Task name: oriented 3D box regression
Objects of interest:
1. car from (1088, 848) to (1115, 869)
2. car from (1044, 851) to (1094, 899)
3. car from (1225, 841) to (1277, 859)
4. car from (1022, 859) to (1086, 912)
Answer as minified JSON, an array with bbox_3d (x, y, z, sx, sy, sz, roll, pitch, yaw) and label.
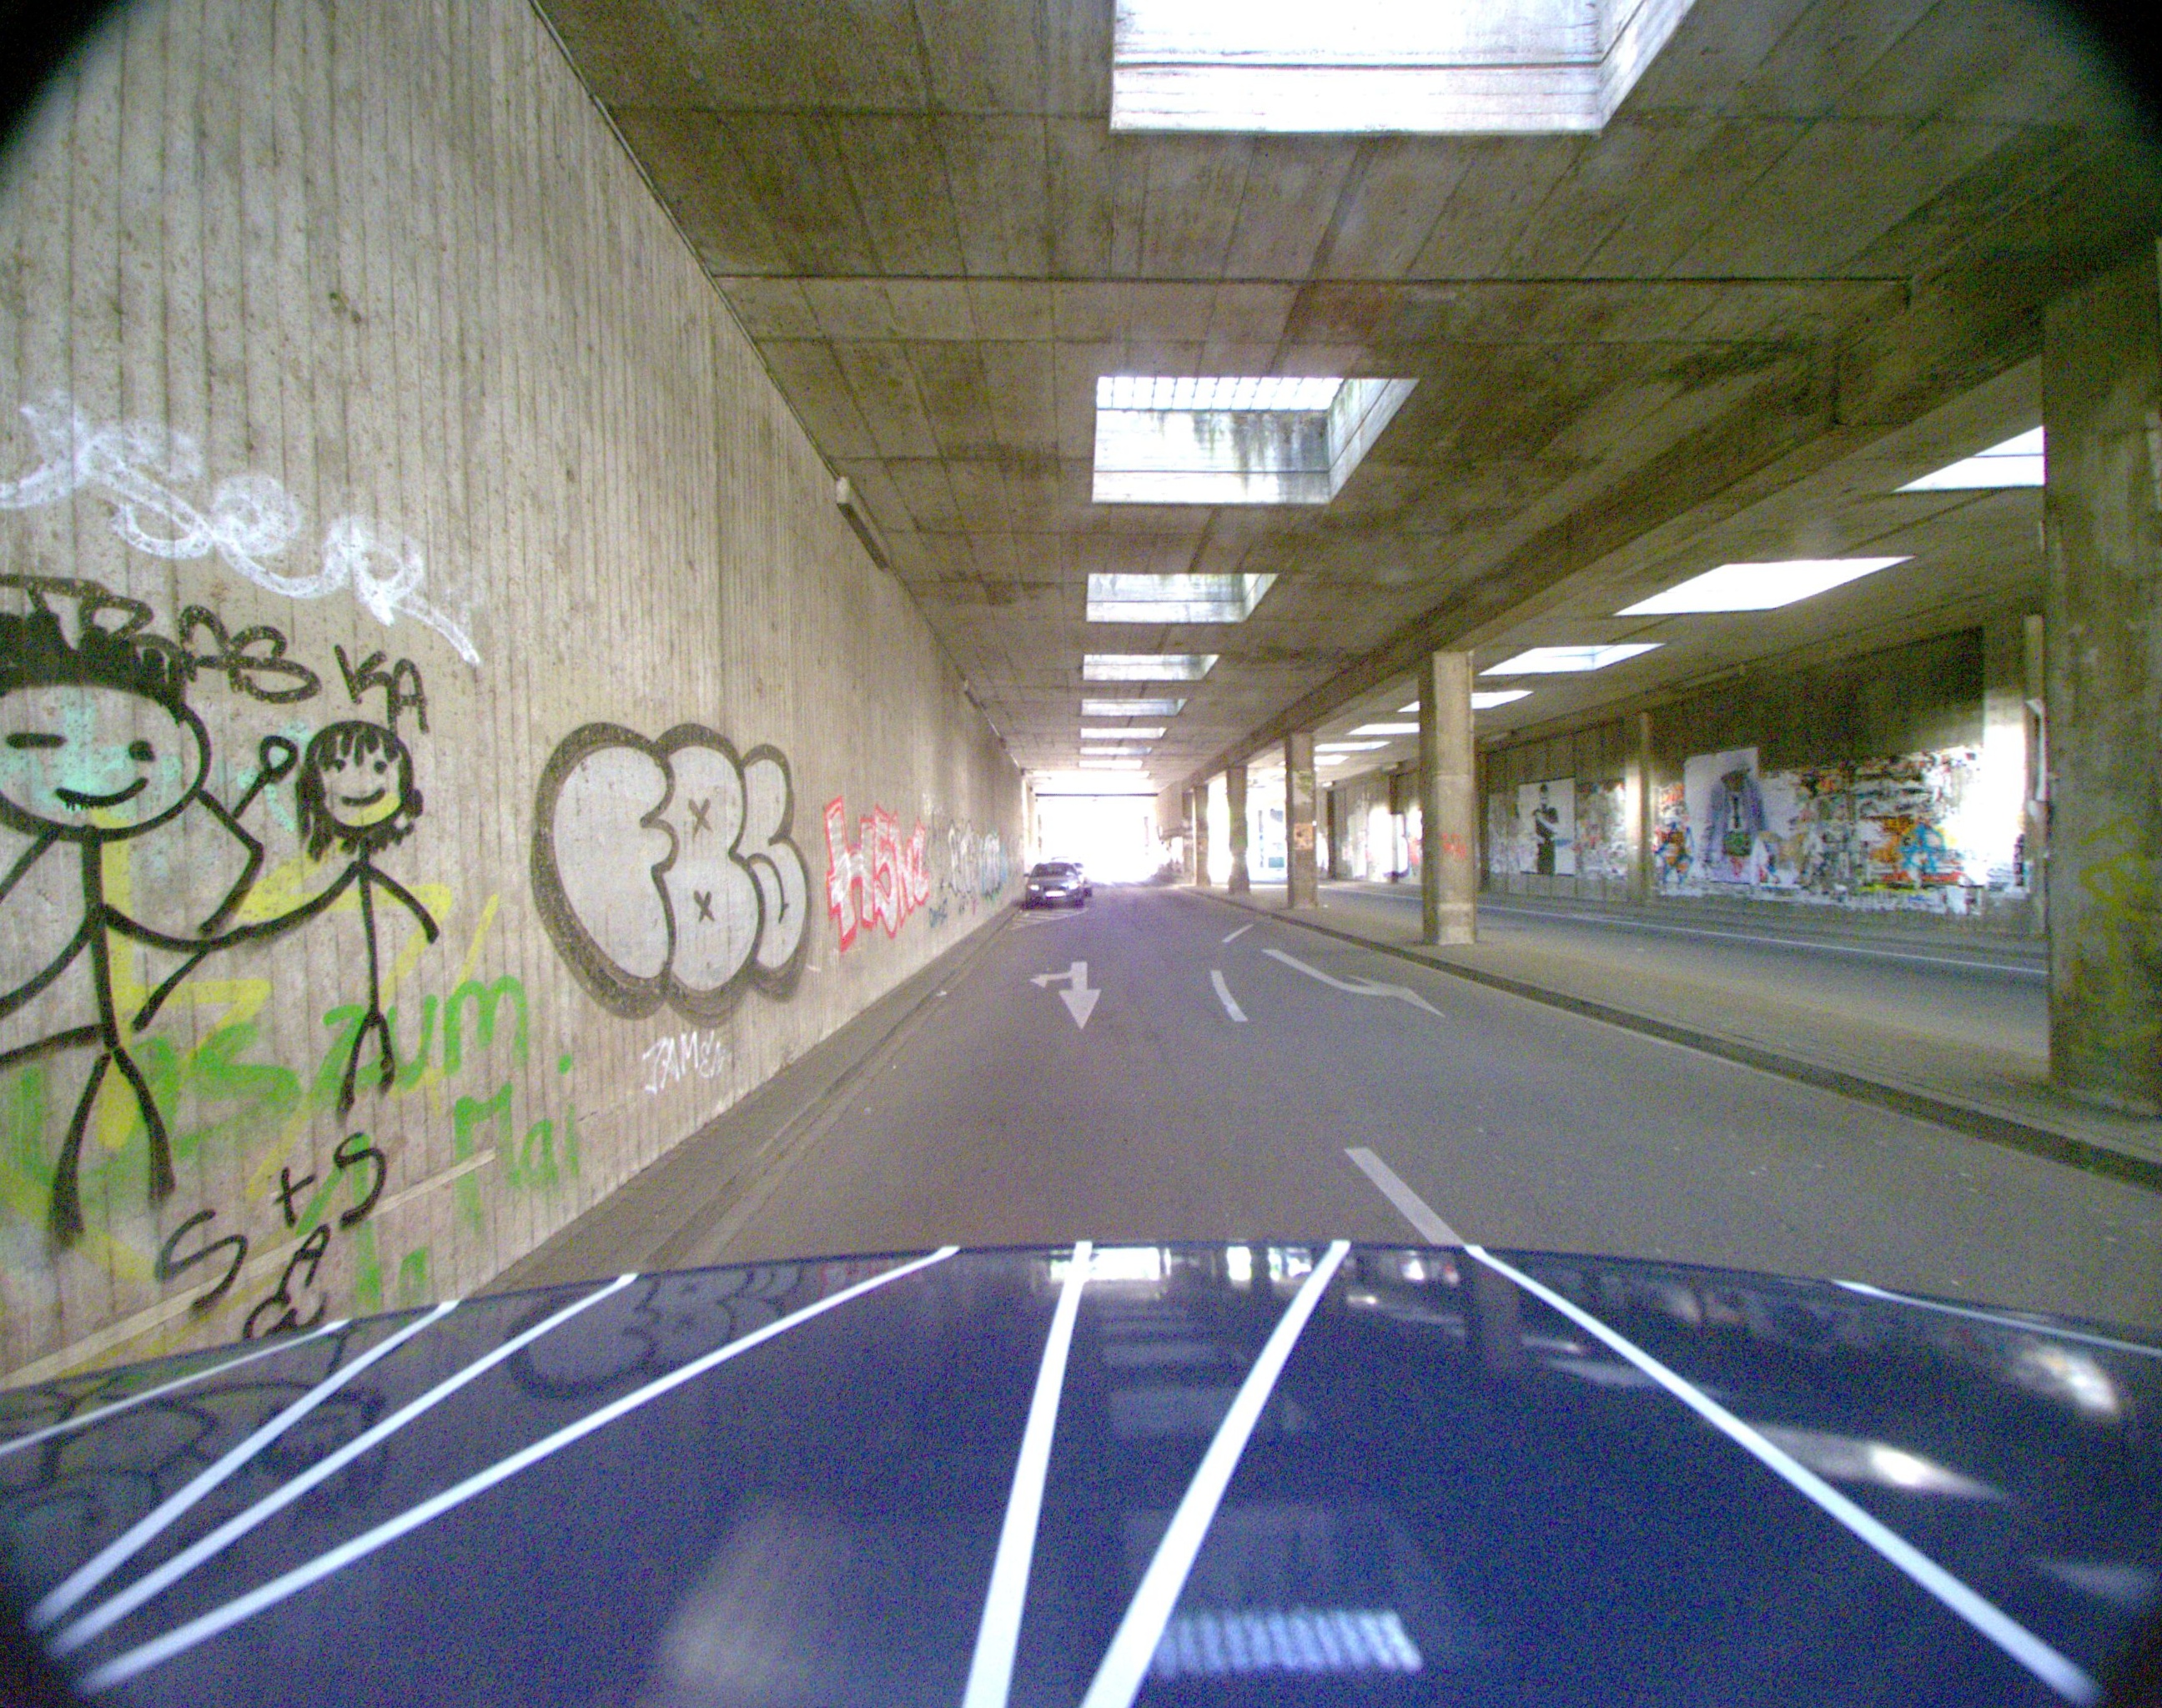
[{"bbox_3d":[1.790,0.367,67.936,1.999,1.740,4.858,-2,1,-2],"label":"car"},{"bbox_3d":[-0.495,0.760,29.787,1.767,1.634,3.999,-2,1,-2],"label":"car"},{"bbox_3d":[17.724,-0.418,79.364,4.857,1.740,1.999,-2,1,-2],"label":"car"},{"bbox_3d":[-0.761,0.925,24.029,1.767,1.407,3.999,-2,1,1],"label":"car"}]
